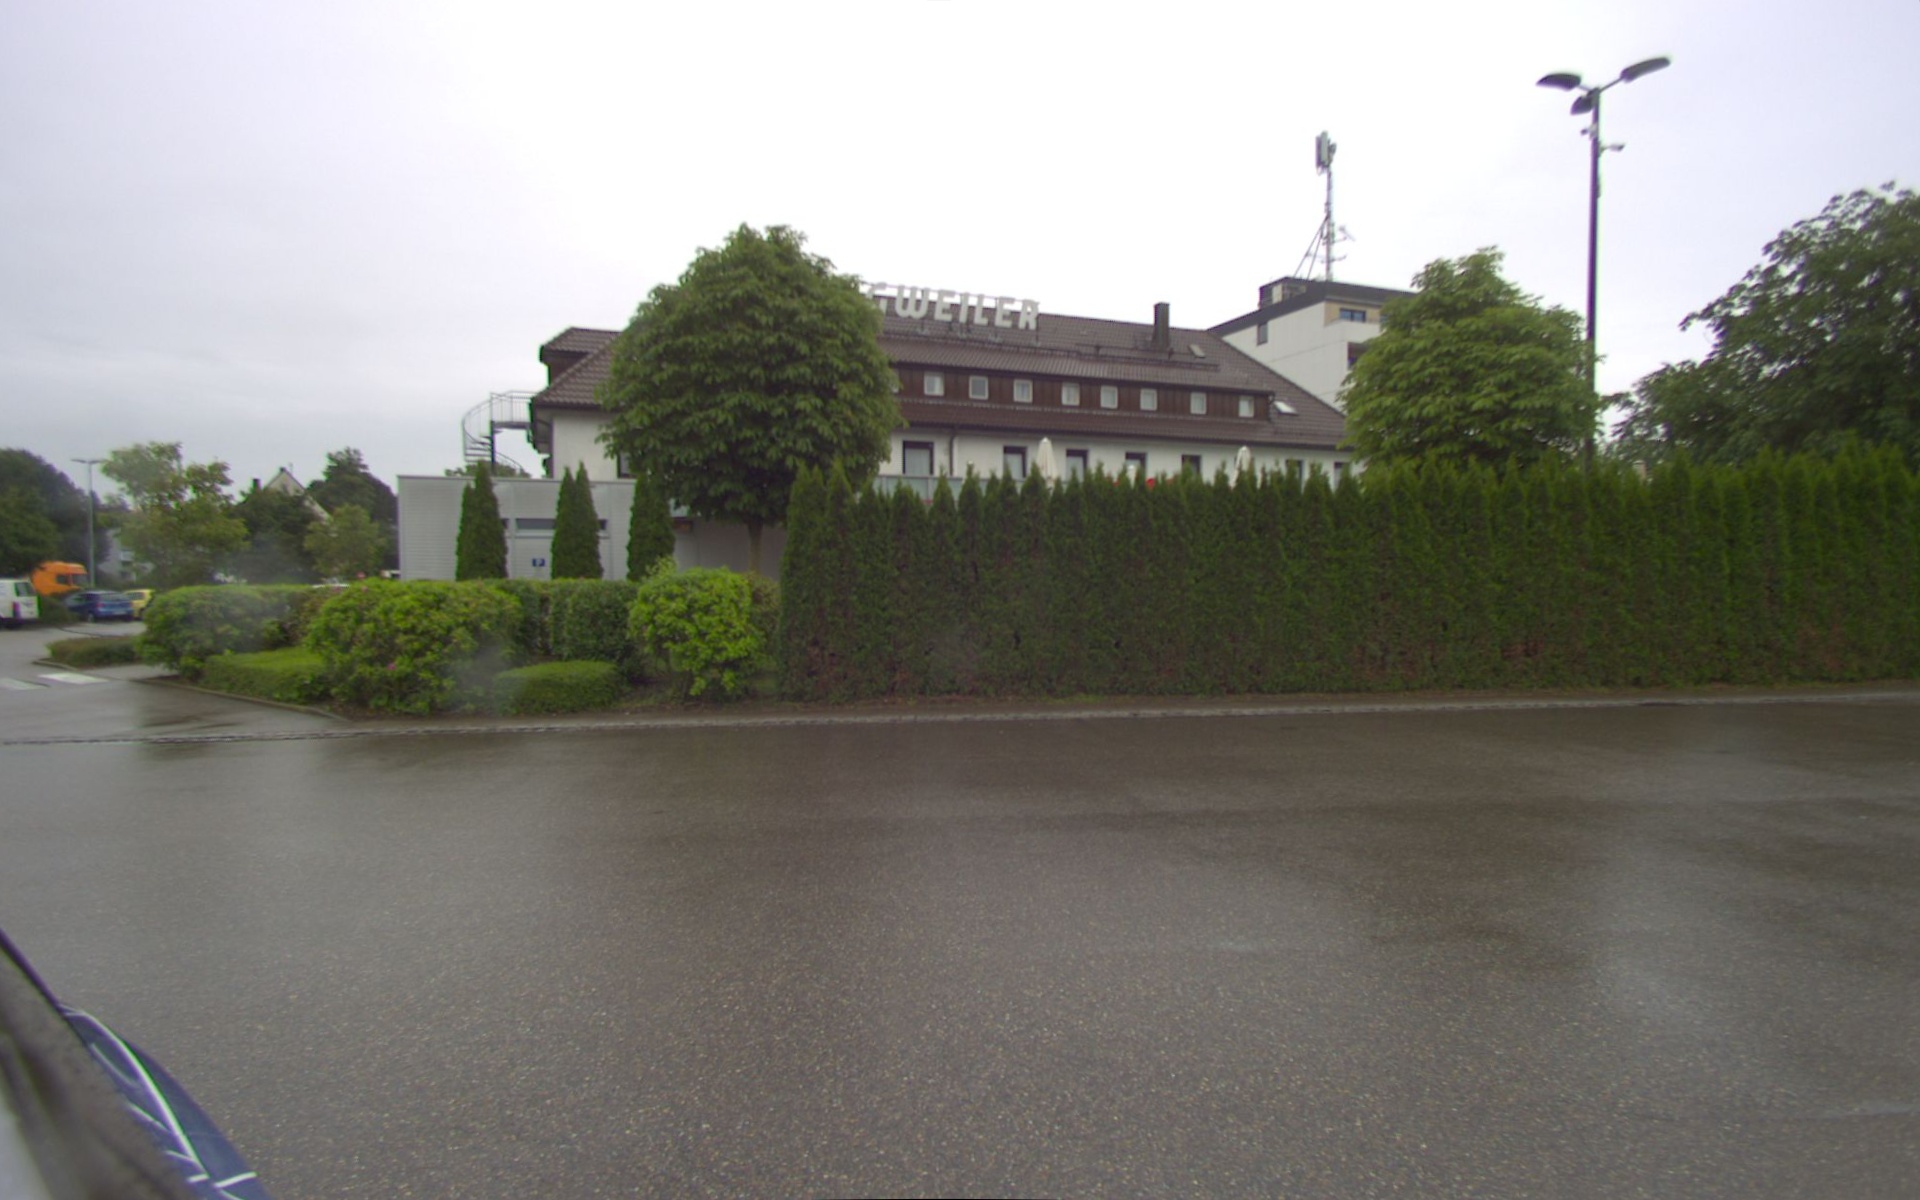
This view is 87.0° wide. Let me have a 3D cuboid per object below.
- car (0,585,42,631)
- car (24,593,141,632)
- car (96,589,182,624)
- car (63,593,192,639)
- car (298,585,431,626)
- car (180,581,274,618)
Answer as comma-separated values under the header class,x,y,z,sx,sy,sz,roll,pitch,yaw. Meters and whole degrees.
class,x,y,z,sx,sy,sz,roll,pitch,yaw
car,-38.476,0.408,38.174,5.285,1.734,2.007,-3,1,-22
car,-39.729,0.556,45.824,4.614,1.561,1.987,-2,1,21
car,-39.357,0.314,48.523,3.702,1.560,1.654,-2,1,23
car,-28.347,0.534,34.457,4.336,1.435,1.692,-1,2,26
car,-23.334,0.172,39.848,4.285,1.435,1.857,-2,1,-24
car,-38.391,-0.035,53.003,3.965,1.741,1.980,-2,1,17
